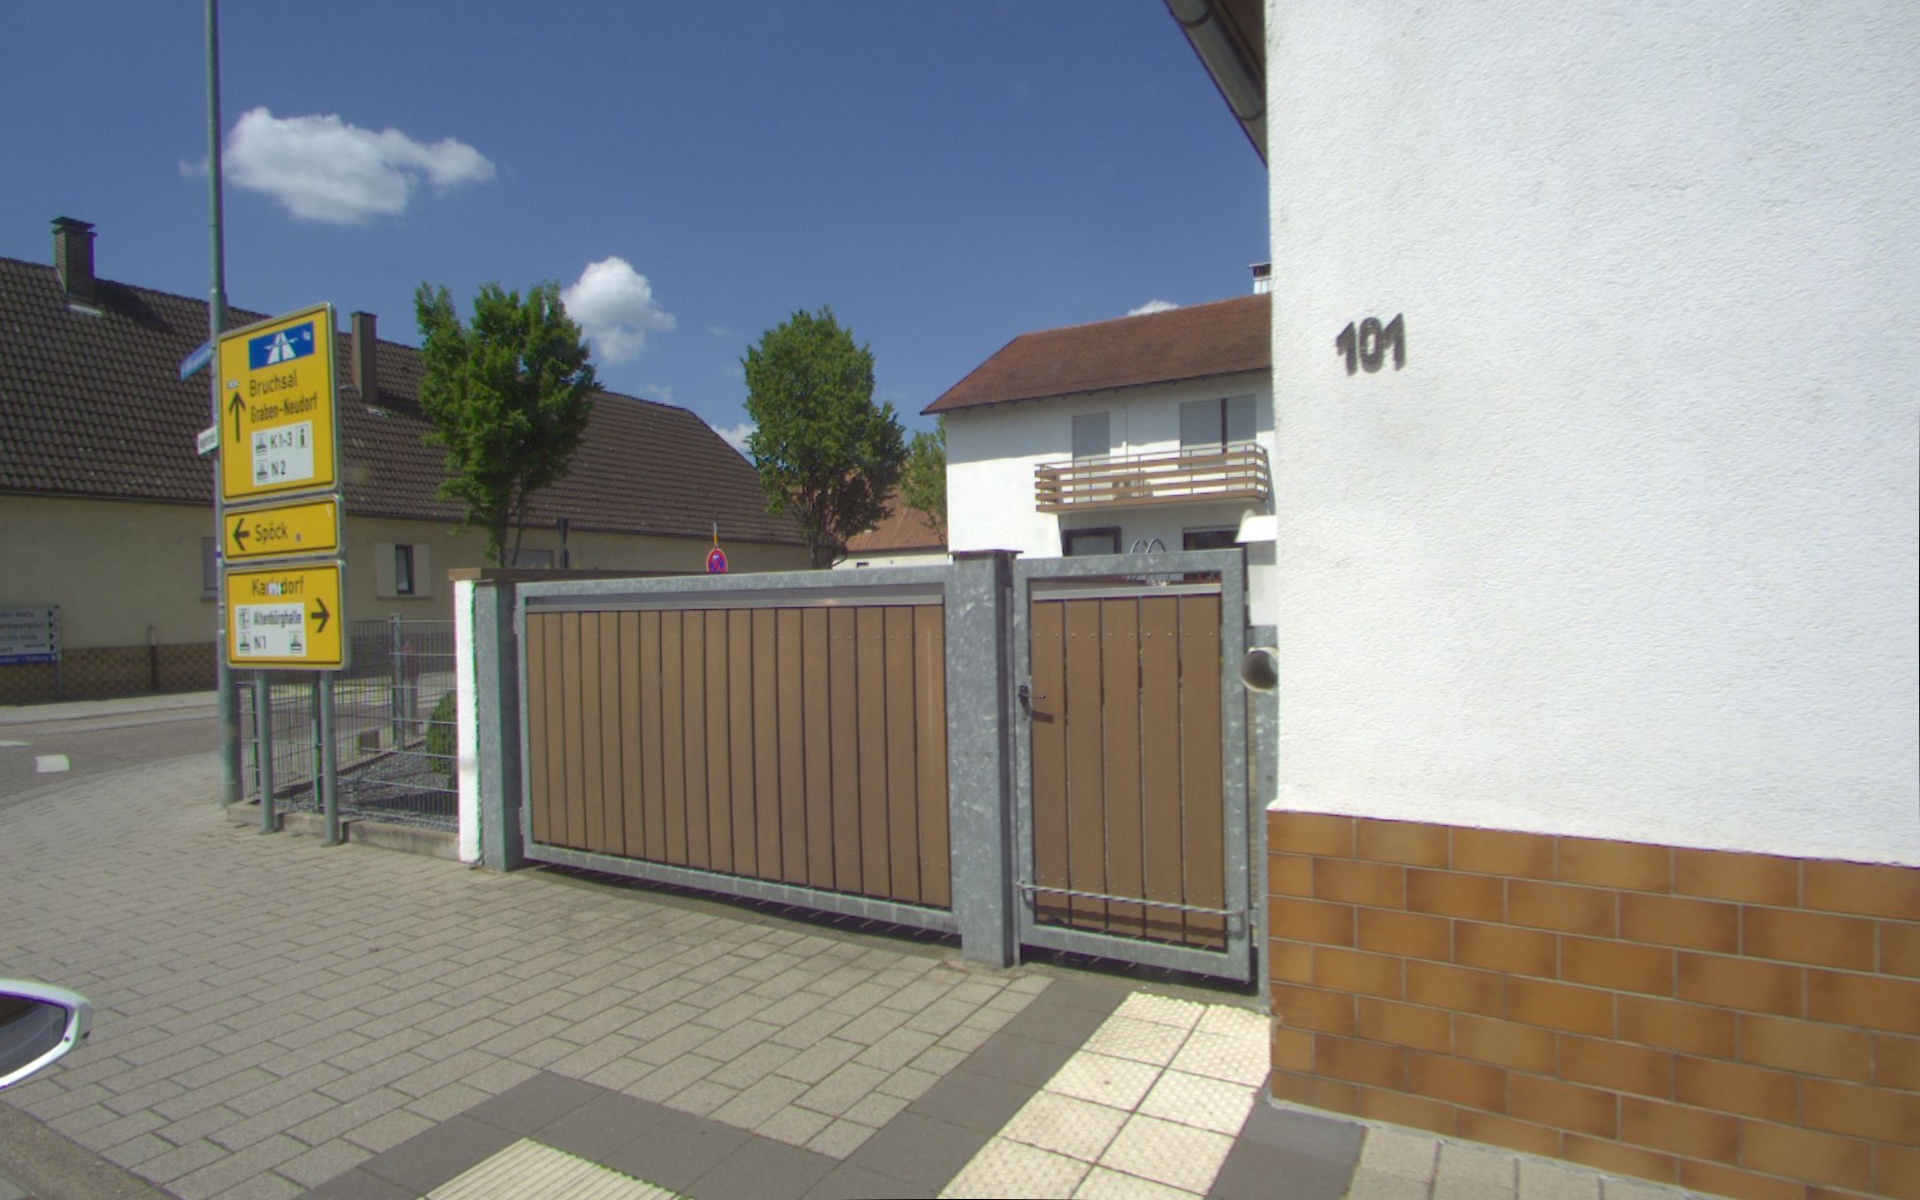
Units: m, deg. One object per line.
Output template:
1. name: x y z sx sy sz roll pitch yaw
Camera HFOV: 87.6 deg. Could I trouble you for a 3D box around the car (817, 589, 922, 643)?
1. car: -3.410 0.562 38.752 1.969 1.965 4.460 0 1 28
